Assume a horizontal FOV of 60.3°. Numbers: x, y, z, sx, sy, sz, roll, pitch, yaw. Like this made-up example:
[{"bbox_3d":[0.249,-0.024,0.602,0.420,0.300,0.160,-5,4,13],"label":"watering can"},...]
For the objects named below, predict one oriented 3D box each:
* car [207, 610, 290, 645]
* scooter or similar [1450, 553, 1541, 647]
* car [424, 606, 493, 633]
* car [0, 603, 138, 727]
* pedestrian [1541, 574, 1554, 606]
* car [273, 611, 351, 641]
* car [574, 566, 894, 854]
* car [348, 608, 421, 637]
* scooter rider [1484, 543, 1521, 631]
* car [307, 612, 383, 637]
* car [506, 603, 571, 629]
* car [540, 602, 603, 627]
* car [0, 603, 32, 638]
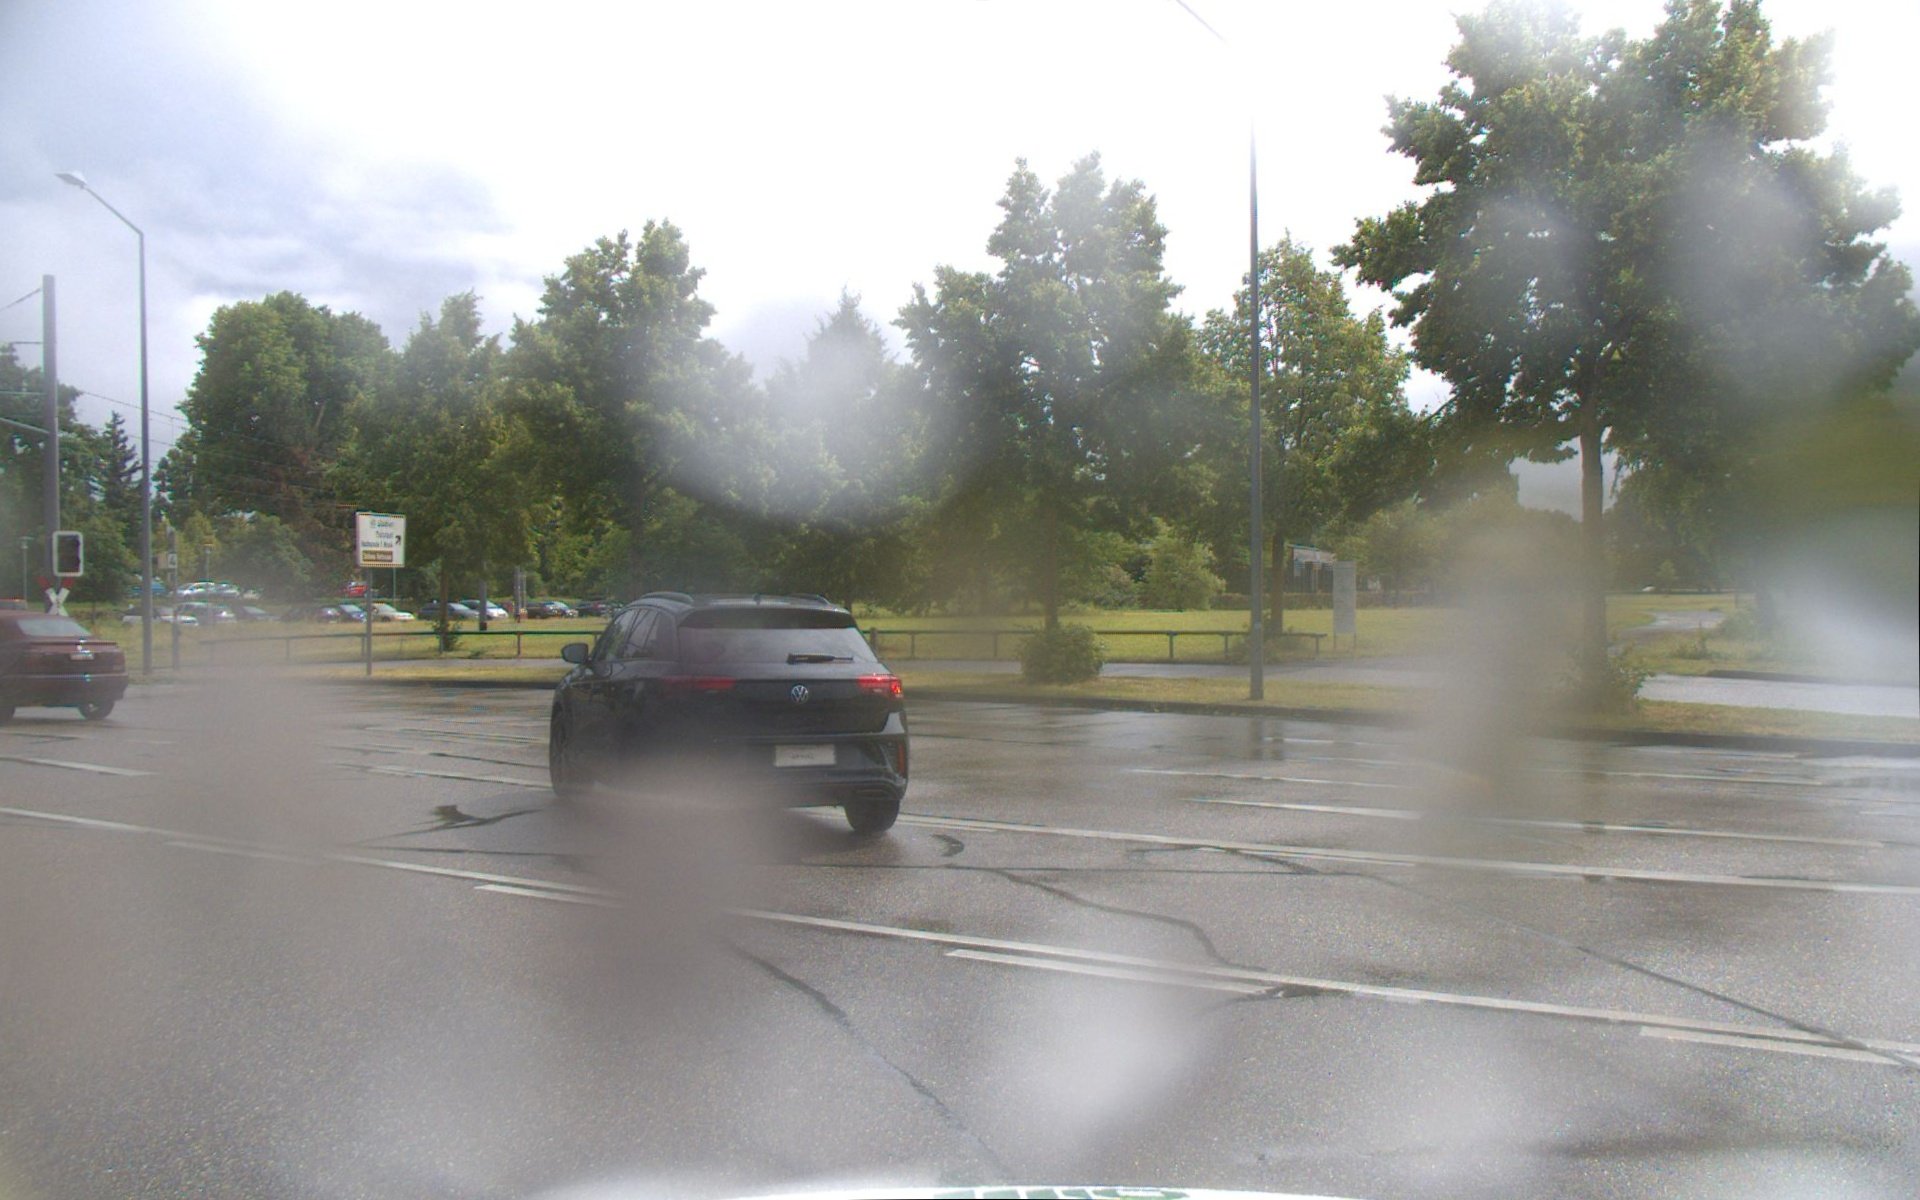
[{"bbox_3d":[-38.076,1.463,88.535,3.907,1.744,1.999,-1,0,25],"label":"car"},{"bbox_3d":[12.329,0.042,37.987,1.213,2.049,3.400,0,-2,32],"label":"scooter or similar"},{"bbox_3d":[-31.542,1.219,104.004,3.886,1.587,1.850,-1,0,24],"label":"car"},{"bbox_3d":[-13.133,0.814,22.237,3.909,1.488,1.719,0,1,26],"label":"car"},{"bbox_3d":[33.693,-0.569,94.835,0.587,1.762,0.603,-1,-2,34],"label":"pedestrian"},{"bbox_3d":[-36.342,1.434,92.711,3.886,1.587,1.850,-1,0,24],"label":"car"},{"bbox_3d":[-1.760,0.645,11.731,1.865,1.646,3.986,-1,0,-13],"label":"car"},{"bbox_3d":[-33.996,1.330,97.685,3.886,1.587,1.850,-1,0,24],"label":"car"},{"bbox_3d":[12.732,-0.296,38.790,0.691,2.049,0.769,0,-2,30],"label":"scooter rider"},{"bbox_3d":[-35.450,1.423,95.297,3.886,1.331,1.850,-1,0,24],"label":"car"},{"bbox_3d":[-28.231,1.071,110.857,3.886,1.587,1.850,-1,0,24],"label":"car"},{"bbox_3d":[-26.890,1.009,114.467,3.886,1.587,1.850,-1,0,24],"label":"car"},{"bbox_3d":[-43.872,0.951,74.817,3.569,1.536,1.647,-1,0,29],"label":"car"}]
